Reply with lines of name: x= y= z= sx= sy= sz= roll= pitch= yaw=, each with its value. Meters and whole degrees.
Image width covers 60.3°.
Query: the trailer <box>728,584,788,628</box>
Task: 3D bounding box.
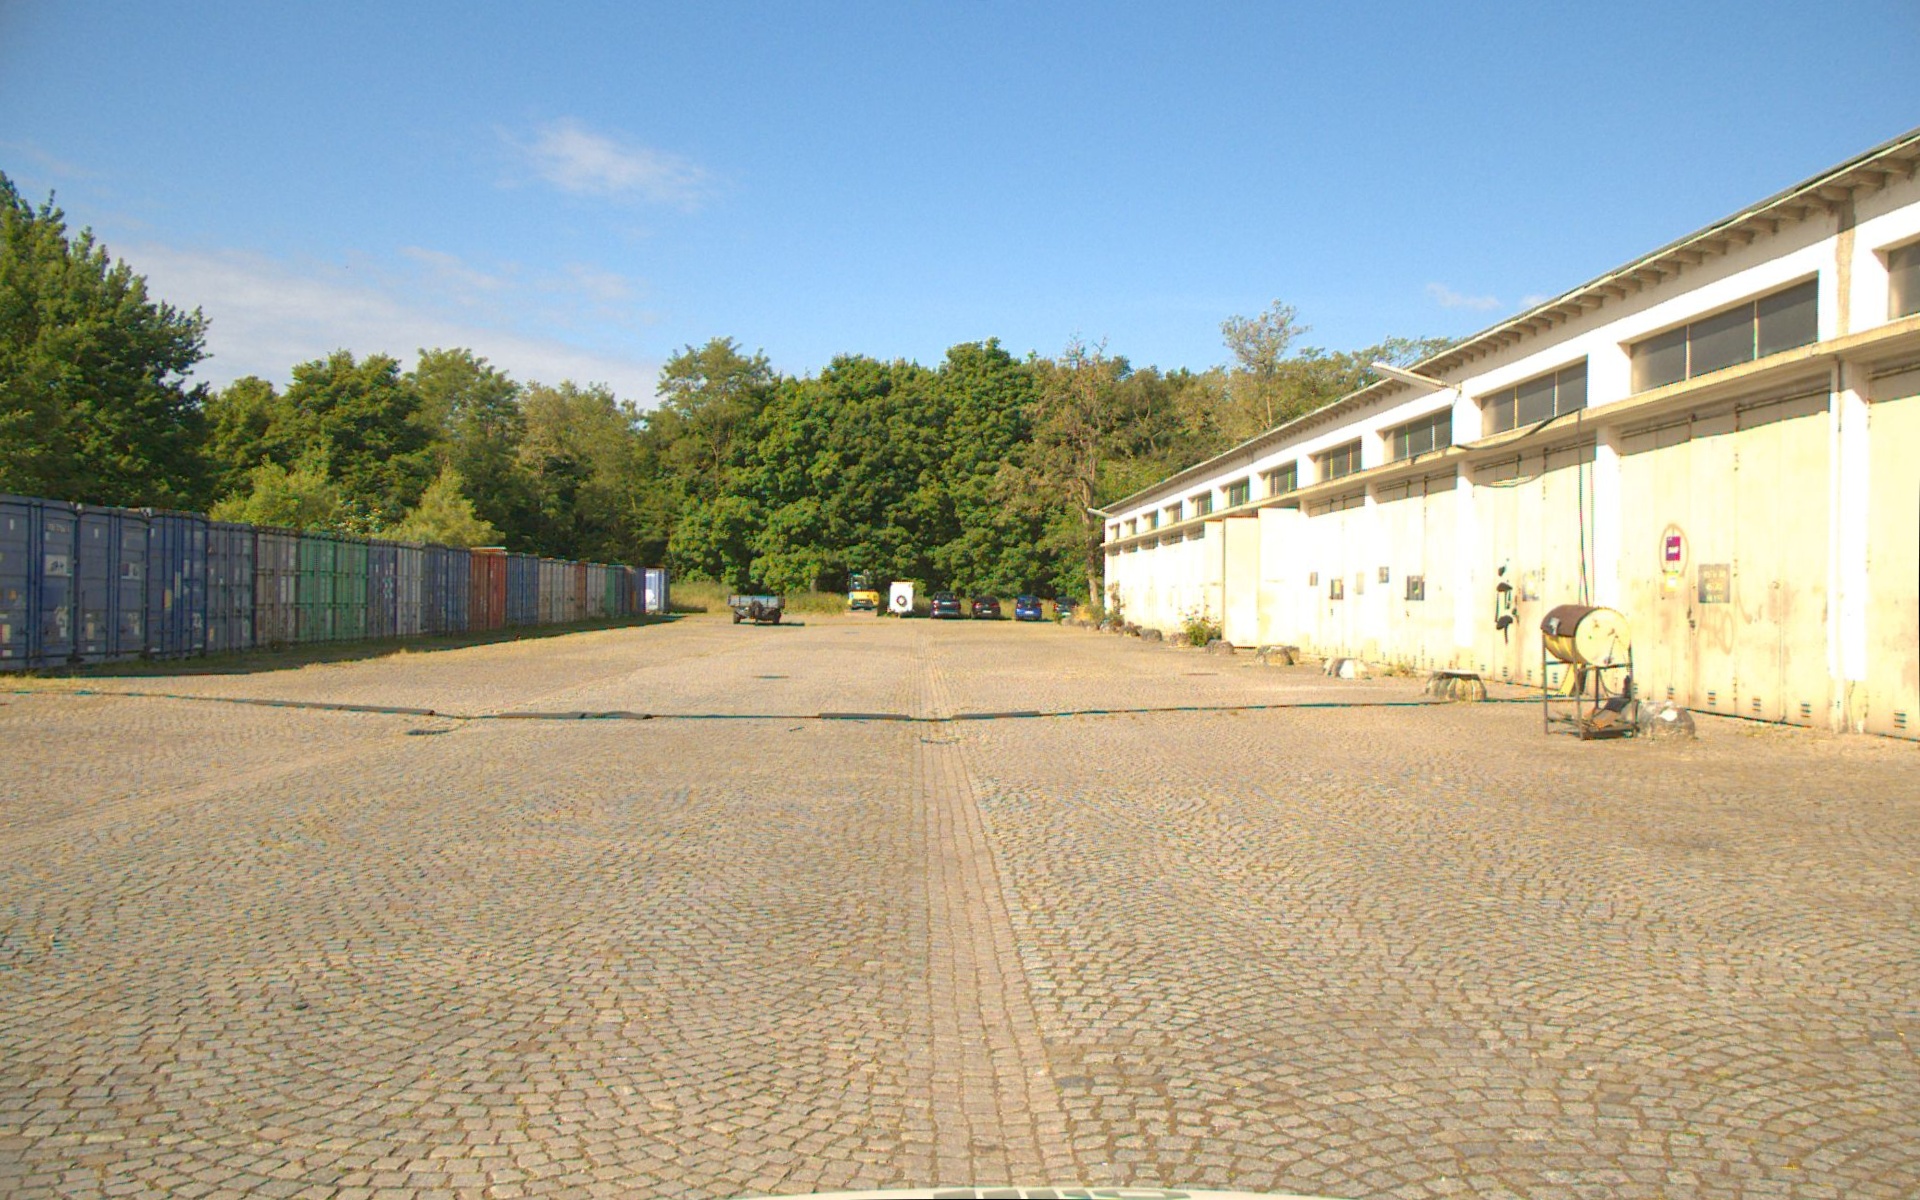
trailer: x=-10.080 y=0.300 z=82.681 sx=2.358 sy=2.049 sz=4.173 roll=3 pitch=0 yaw=0

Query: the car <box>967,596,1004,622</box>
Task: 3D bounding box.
car: x=1.585 y=0.538 z=100.627 sx=1.951 sy=1.488 sz=4.002 roll=1 pitch=0 yaw=5

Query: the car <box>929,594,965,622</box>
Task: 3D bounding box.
car: x=-0.768 y=0.486 z=100.352 sx=1.822 sy=1.613 sz=4.002 roll=1 pitch=0 yaw=5

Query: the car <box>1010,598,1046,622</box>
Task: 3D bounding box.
car: x=4.164 y=0.587 z=100.716 sx=1.951 sy=1.445 sz=4.002 roll=1 pitch=0 yaw=5

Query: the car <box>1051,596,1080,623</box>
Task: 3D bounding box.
car: x=6.530 y=0.572 z=102.030 sx=1.649 sy=1.591 sz=4.002 roll=1 pitch=0 yaw=5

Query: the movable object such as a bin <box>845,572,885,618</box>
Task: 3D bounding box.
movable object such as a bin: x=-5.832 y=-0.305 z=102.154 sx=1.952 sy=2.664 sz=4.001 roll=3 pitch=0 yaw=2

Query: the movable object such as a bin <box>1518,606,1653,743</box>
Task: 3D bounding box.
movable object such as a bin: x=6.471 y=0.750 z=17.170 sx=0.807 sy=1.355 sz=1.278 roll=1 pitch=0 yaw=-7

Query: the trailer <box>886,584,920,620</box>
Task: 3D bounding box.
trailer: x=-3.481 y=0.132 z=101.957 sx=1.756 sy=2.126 sz=3.973 roll=1 pitch=0 yaw=2
